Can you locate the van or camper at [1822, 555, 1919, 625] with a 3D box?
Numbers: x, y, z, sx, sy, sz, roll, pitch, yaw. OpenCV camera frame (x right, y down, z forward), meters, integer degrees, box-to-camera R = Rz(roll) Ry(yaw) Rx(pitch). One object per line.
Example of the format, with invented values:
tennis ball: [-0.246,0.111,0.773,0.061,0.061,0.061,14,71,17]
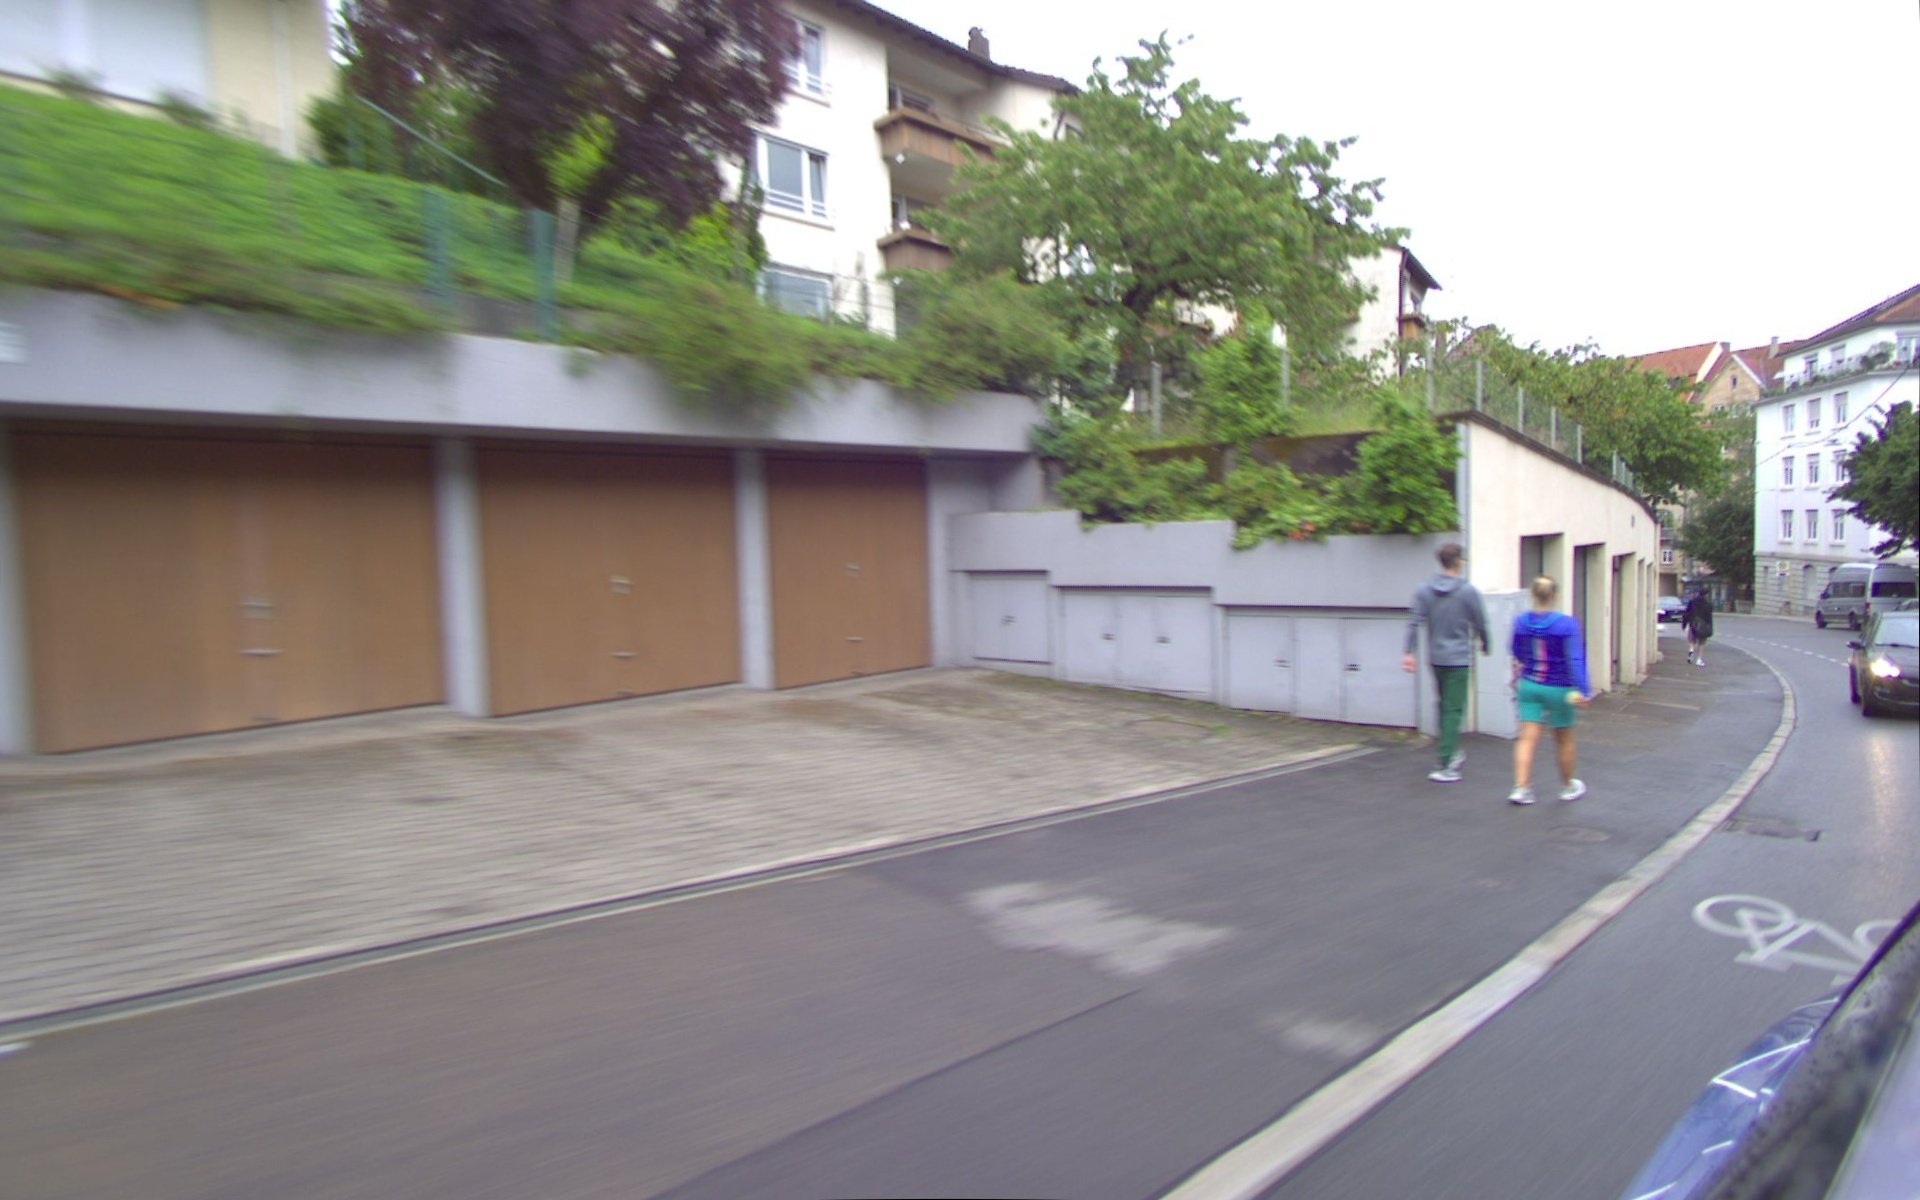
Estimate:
van or camper: [40.419,-0.449,44.514,2.050,2.895,5.704,1,1,22]

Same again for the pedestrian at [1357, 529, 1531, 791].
pedestrian: [3.800,0.414,7.917,0.776,1.854,1.231,5,3,44]

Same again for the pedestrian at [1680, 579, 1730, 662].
pedestrian: [17.319,0.448,23.523,0.898,1.874,0.791,0,1,40]

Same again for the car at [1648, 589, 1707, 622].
car: [40.459,0.293,57.172,1.877,1.717,3.967,-3,0,24]

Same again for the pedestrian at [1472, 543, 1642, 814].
pedestrian: [4.321,0.498,7.318,0.776,1.780,0.995,4,4,45]

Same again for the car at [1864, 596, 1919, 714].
car: [14.260,0.709,14.619,1.692,1.483,3.939,-4,-1,42]

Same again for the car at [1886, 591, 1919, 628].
car: [37.974,0.373,39.330,1.572,1.427,4.018,0,1,21]
